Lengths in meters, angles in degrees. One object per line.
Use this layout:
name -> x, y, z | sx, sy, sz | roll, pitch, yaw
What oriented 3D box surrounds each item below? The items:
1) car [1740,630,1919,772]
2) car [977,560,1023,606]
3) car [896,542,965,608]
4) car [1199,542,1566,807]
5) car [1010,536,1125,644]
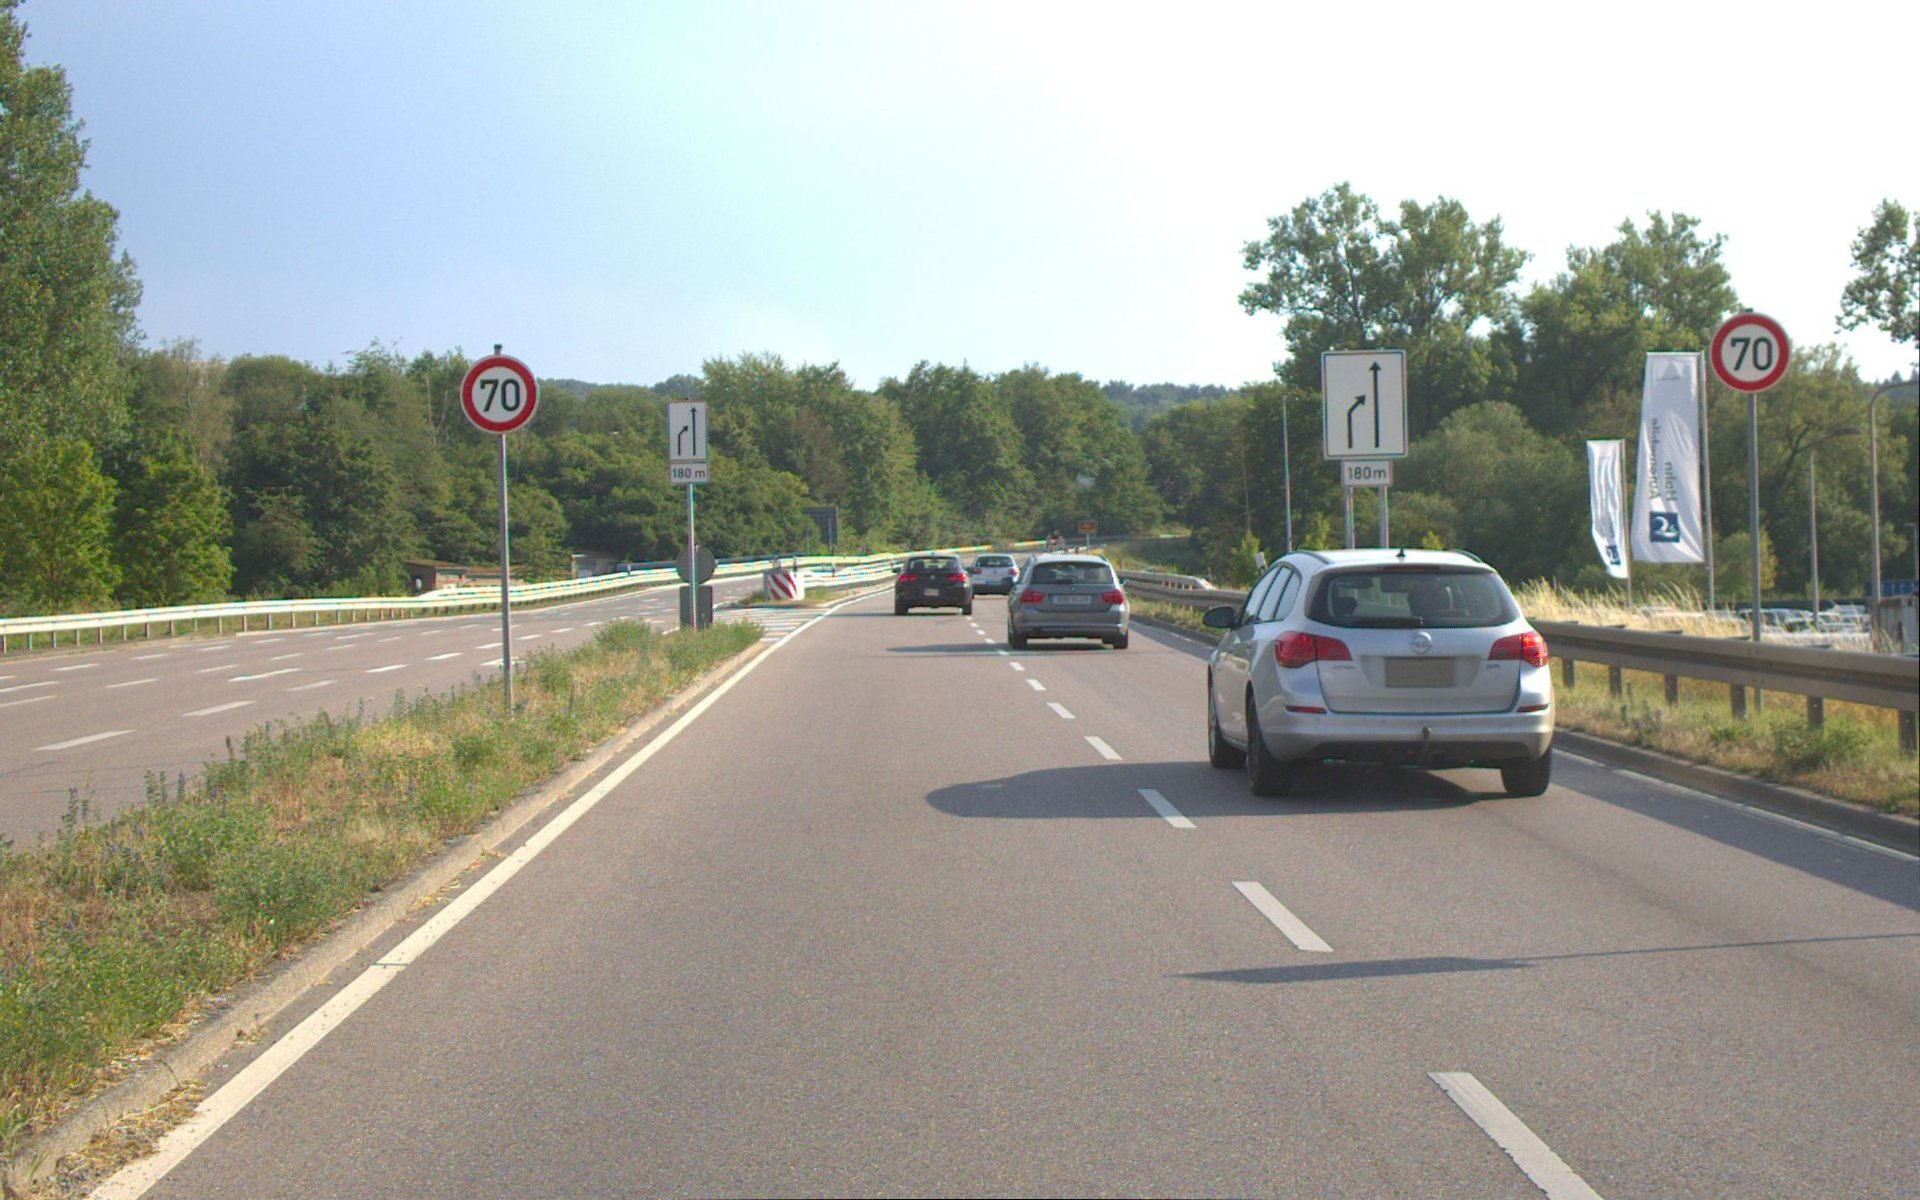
car -> 14.558, 1.472, 50.263 | 5.882, 2.007, 2.000 | 1, 0, 3
car -> 1.318, -0.533, 112.575 | 1.492, 1.471, 3.358 | 1, 0, 1
car -> -0.661, -0.556, 79.154 | 1.492, 1.471, 3.358 | 1, 0, 1
car -> 2.536, 0.429, 21.507 | 1.809, 1.481, 4.000 | 1, 0, 0
car -> 1.613, -0.141, 52.555 | 1.667, 1.568, 4.000 | 1, 0, 1
